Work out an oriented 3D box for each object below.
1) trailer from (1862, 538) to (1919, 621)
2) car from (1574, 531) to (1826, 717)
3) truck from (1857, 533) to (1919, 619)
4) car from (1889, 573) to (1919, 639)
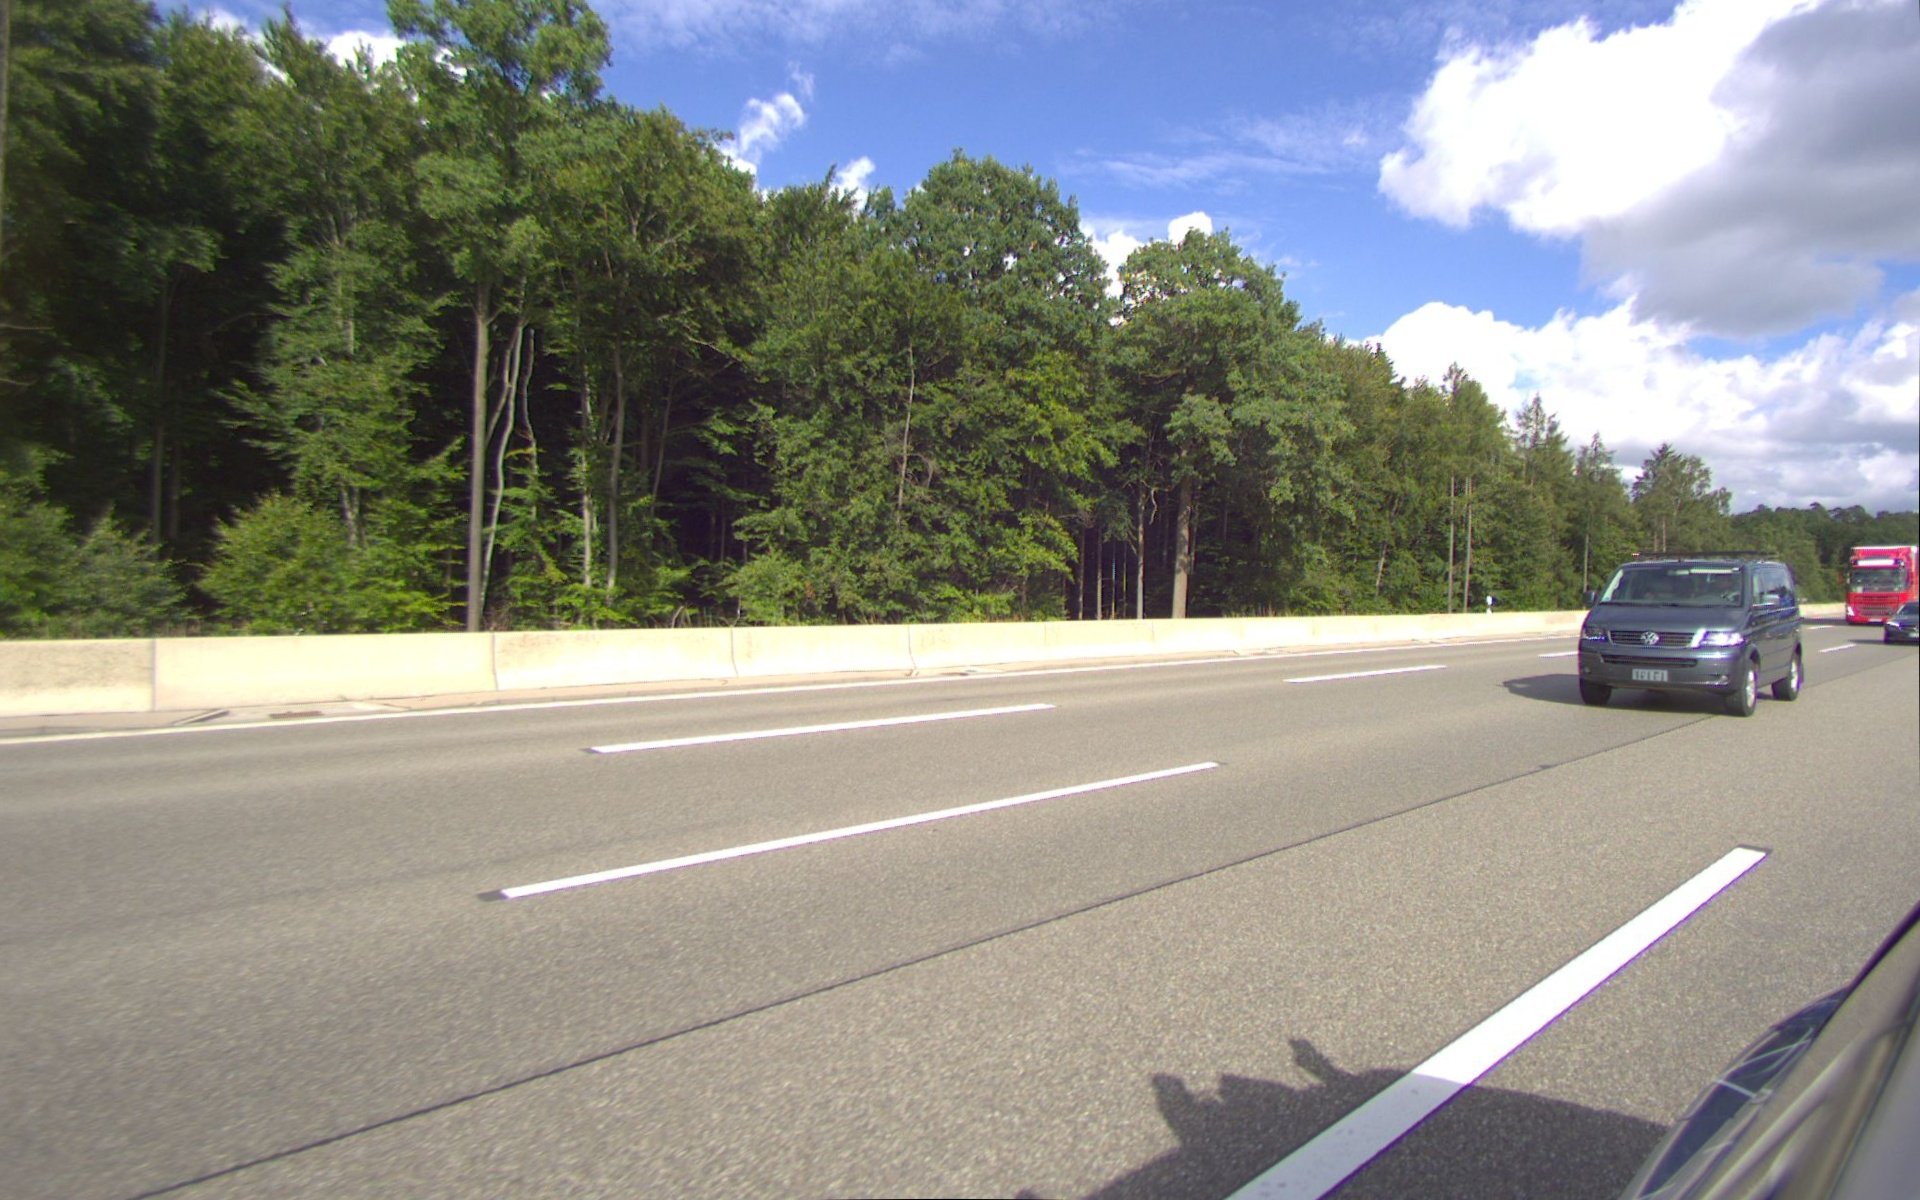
[{"bbox_3d":[53.224,-1.197,56.586,14.130,4.171,2.529,-2,1,-42],"label":"trailer"},{"bbox_3d":[10.548,0.243,14.263,4.876,2.192,1.925,0,1,-42],"label":"car"},{"bbox_3d":[48.331,-1.238,52.236,4.573,4.255,2.530,-1,1,-41],"label":"truck"},{"bbox_3d":[31.334,0.172,32.291,3.929,2.039,1.997,0,0,-40],"label":"car"}]
